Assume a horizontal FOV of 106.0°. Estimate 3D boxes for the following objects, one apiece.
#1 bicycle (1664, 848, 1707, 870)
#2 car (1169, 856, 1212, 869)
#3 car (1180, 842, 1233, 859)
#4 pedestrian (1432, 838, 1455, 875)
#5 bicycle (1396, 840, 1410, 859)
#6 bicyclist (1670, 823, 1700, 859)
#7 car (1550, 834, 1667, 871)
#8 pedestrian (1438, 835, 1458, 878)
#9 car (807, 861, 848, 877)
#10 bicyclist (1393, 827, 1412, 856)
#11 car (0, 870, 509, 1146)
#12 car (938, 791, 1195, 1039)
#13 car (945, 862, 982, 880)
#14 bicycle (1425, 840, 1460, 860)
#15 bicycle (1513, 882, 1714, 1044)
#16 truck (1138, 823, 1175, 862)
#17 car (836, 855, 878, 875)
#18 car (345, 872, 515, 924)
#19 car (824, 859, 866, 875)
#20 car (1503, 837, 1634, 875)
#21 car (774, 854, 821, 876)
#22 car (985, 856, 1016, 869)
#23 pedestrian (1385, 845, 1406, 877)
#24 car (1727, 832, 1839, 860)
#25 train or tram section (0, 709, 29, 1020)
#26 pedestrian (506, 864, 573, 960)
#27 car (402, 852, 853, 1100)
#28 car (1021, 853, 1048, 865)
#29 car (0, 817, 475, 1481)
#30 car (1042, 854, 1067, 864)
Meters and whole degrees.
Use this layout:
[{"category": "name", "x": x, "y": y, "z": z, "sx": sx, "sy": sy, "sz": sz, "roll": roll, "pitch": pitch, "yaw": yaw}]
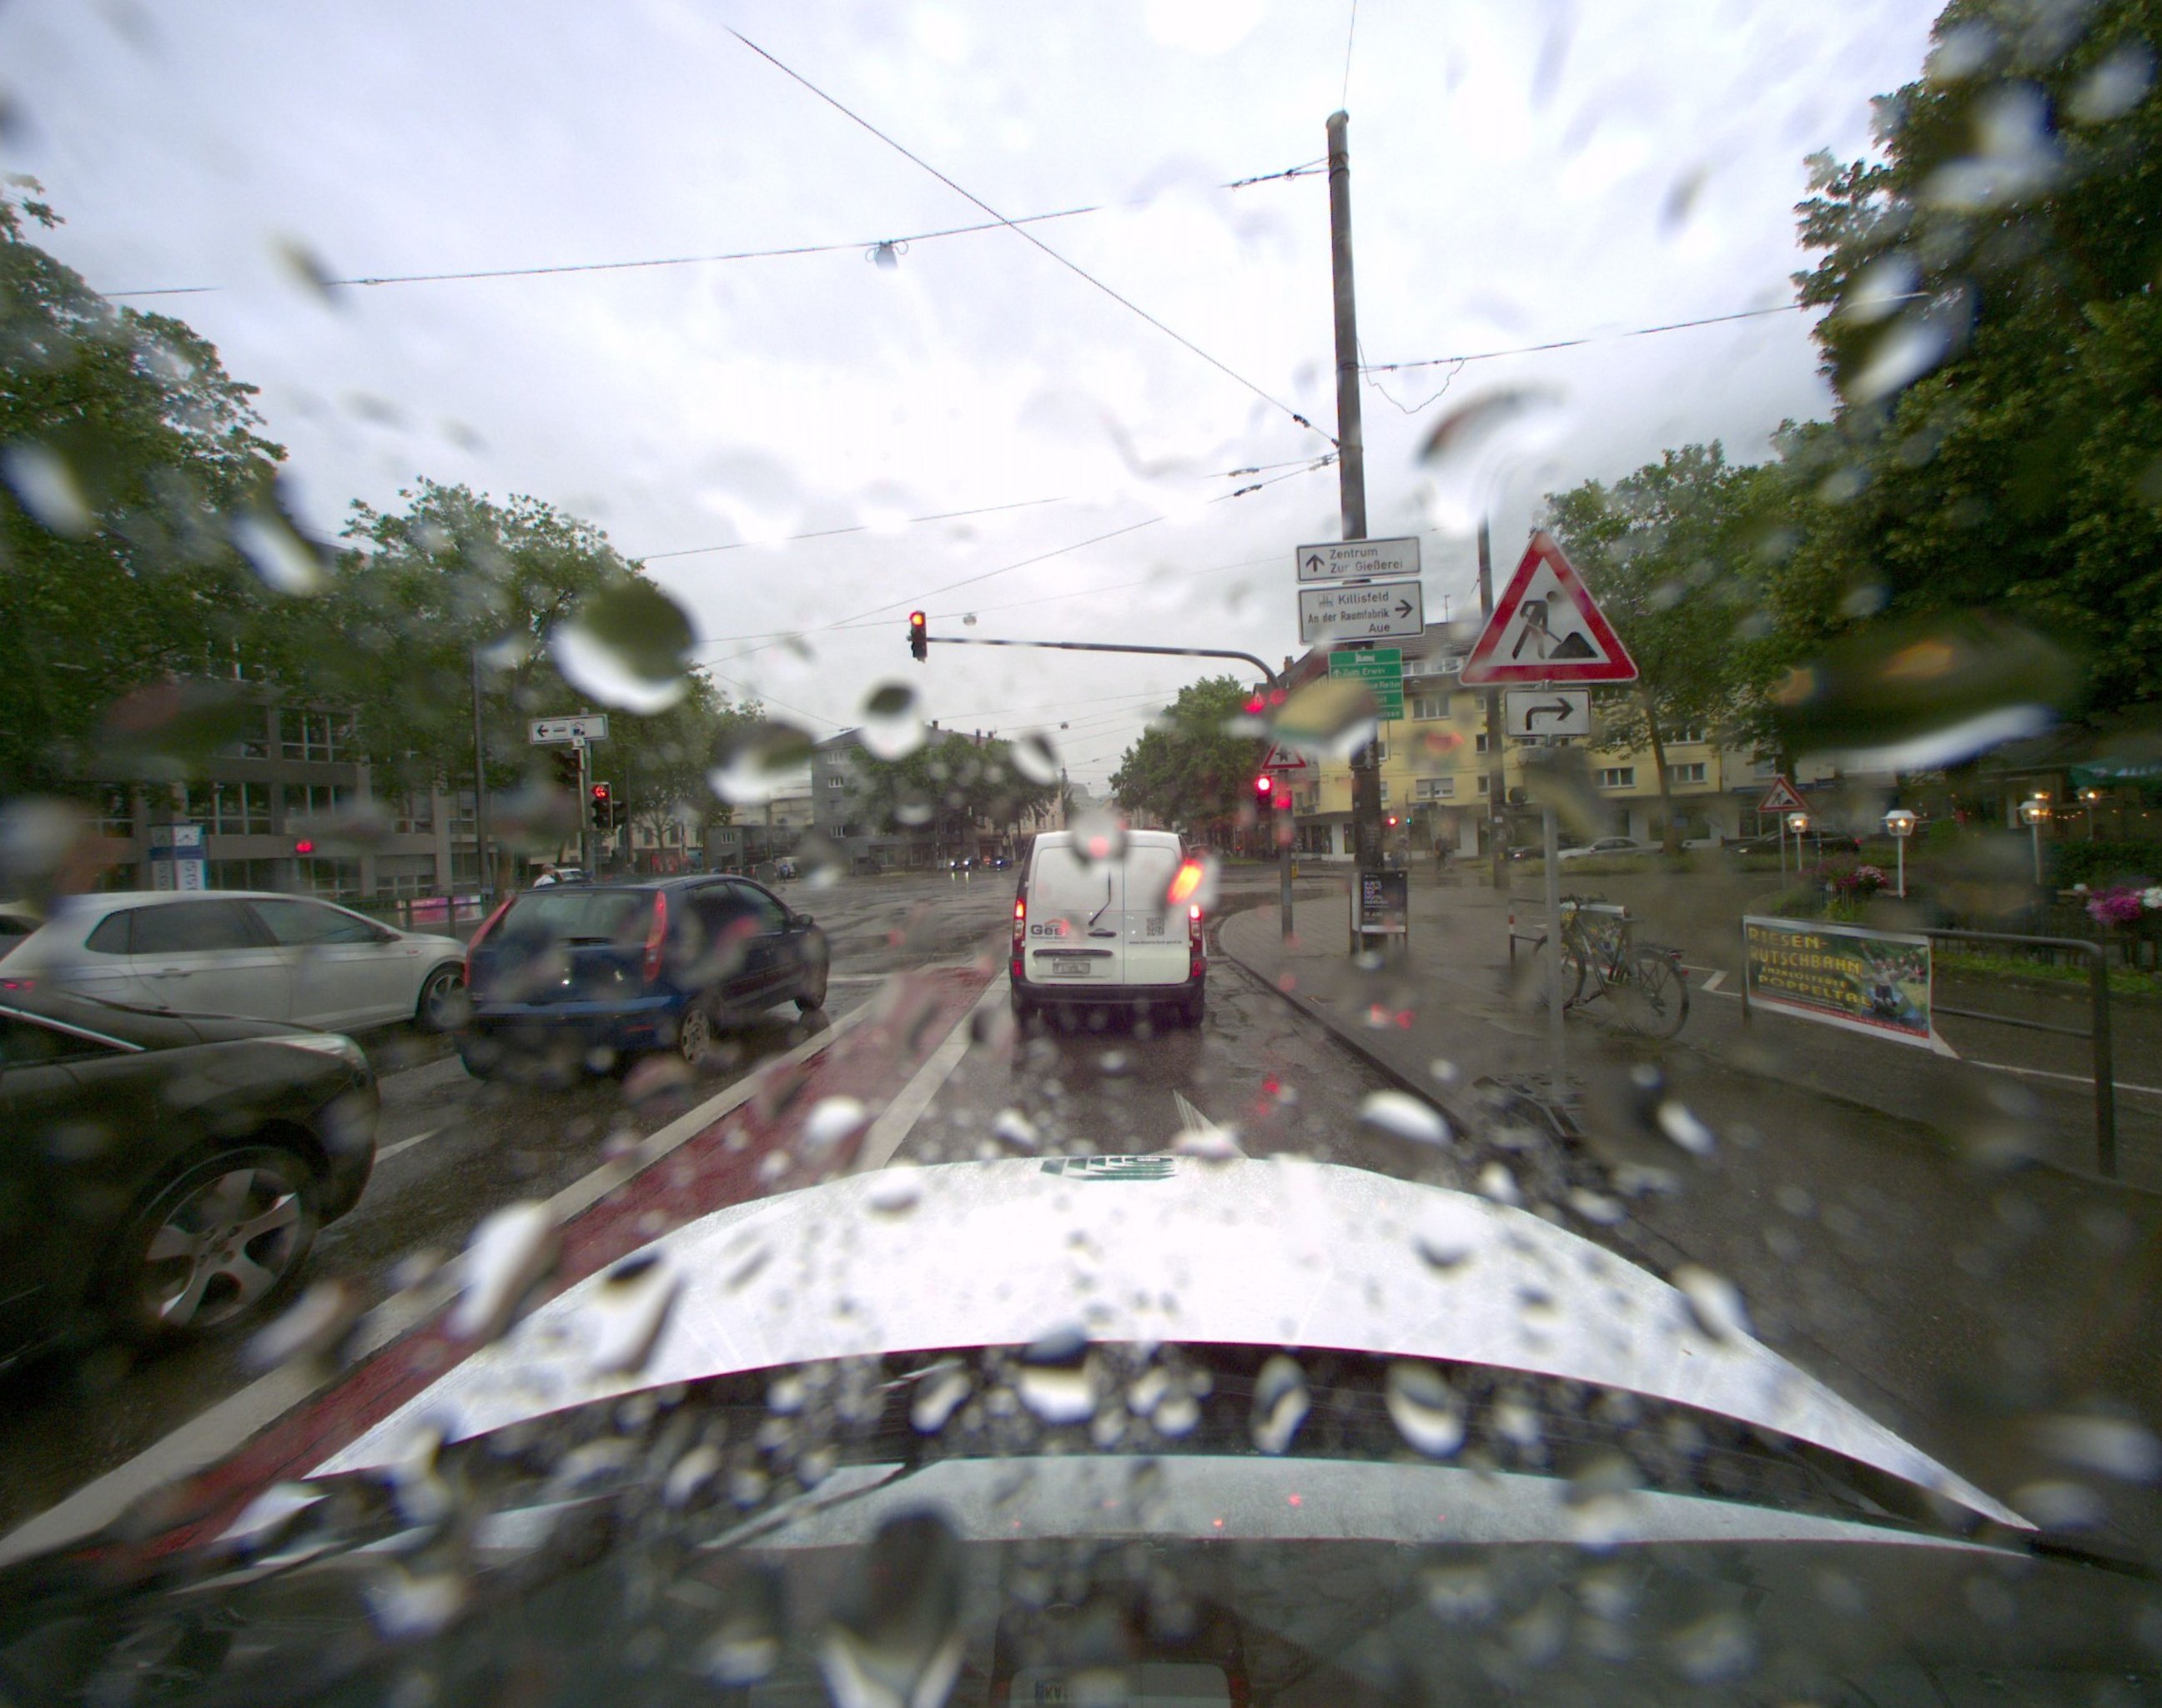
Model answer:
[{"category": "bicycle", "x": 28.003, "y": 0.233, "z": 37.717, "sx": 1.631, "sy": 1.002, "sz": 0.422, "roll": -1, "pitch": 0, "yaw": 2}, {"category": "car", "x": 9.502, "y": 0.727, "z": 70.932, "sx": 3.437, "sy": 1.130, "sz": 1.468, "roll": -1, "pitch": 0, "yaw": -6}, {"category": "car", "x": 10.573, "y": -0.303, "z": 68.881, "sx": 4.160, "sy": 1.339, "sz": 1.518, "roll": -2, "pitch": 1, "yaw": -6}, {"category": "pedestrian", "x": 17.013, "y": 0.121, "z": 38.225, "sx": 0.896, "sy": 1.669, "sz": 1.026, "roll": -1, "pitch": 0, "yaw": 26}, {"category": "bicycle", "x": 17.831, "y": -0.249, "z": 45.059, "sx": 0.651, "sy": 1.027, "sz": 2.035, "roll": -1, "pitch": 0, "yaw": 24}, {"category": "bicyclist", "x": 27.973, "y": -0.600, "z": 37.723, "sx": 0.811, "sy": 1.615, "sz": 0.711, "roll": -1, "pitch": 0, "yaw": 2}, {"category": "car", "x": 22.764, "y": -0.074, "z": 35.290, "sx": 3.906, "sy": 1.490, "sz": 1.815, "roll": -1, "pitch": 1, "yaw": 17}, {"category": "pedestrian", "x": 17.530, "y": 0.116, "z": 38.910, "sx": 0.787, "sy": 2.014, "sz": 0.865, "roll": -1, "pitch": -1, "yaw": 27}, {"category": "car", "x": -27.532, "y": 1.644, "z": 88.481, "sx": 1.935, "sy": 1.496, "sz": 4.025, "roll": -1, "pitch": 1, "yaw": 29}, {"category": "bicyclist", "x": 17.819, "y": -0.689, "z": 45.095, "sx": 0.925, "sy": 1.547, "sz": 1.075, "roll": -1, "pitch": 0, "yaw": 23}, {"category": "car", "x": -6.778, "y": 0.919, "z": 6.512, "sx": 1.623, "sy": 1.494, "sz": 3.783, "roll": -1, "pitch": 0, "yaw": 2}, {"category": "car", "x": -0.042, "y": 0.528, "z": 9.261, "sx": 2.092, "sy": 2.012, "sz": 4.965, "roll": -2, "pitch": -1, "yaw": 2}, {"category": "car", "x": -11.572, "y": 1.640, "z": 80.241, "sx": 1.935, "sy": 1.607, "sz": 4.020, "roll": -1, "pitch": 1, "yaw": 19}, {"category": "bicycle", "x": 24.322, "y": -0.272, "z": 54.850, "sx": 2.085, "sy": 1.261, "sz": 0.534, "roll": -1, "pitch": 1, "yaw": 16}, {"category": "bicycle", "x": 4.477, "y": 0.843, "z": 7.039, "sx": 0.512, "sy": 1.107, "sz": 2.018, "roll": 1, "pitch": 0, "yaw": 3}, {"category": "truck", "x": 10.780, "y": -1.468, "z": 114.579, "sx": 3.447, "sy": 5.087, "sz": 15.356, "roll": -1, "pitch": 0, "yaw": 12}, {"category": "car", "x": -23.432, "y": 1.161, "z": 85.448, "sx": 1.975, "sy": 2.013, "sz": 4.025, "roll": -1, "pitch": 0, "yaw": 29}, {"category": "car", "x": -18.609, "y": 1.217, "z": 23.478, "sx": 1.582, "sy": 1.314, "sz": 3.538, "roll": -1, "pitch": 0, "yaw": 16}, {"category": "car", "x": -25.339, "y": 1.402, "z": 87.449, "sx": 1.975, "sy": 1.530, "sz": 4.025, "roll": -1, "pitch": 1, "yaw": 29}, {"category": "car", "x": 22.848, "y": 0.130, "z": 38.364, "sx": 4.902, "sy": 1.643, "sz": 2.007, "roll": -1, "pitch": -3, "yaw": 14}, {"category": "car", "x": -30.762, "y": 1.192, "z": 88.409, "sx": 1.975, "sy": 2.198, "sz": 4.816, "roll": 0, "pitch": 2, "yaw": 25}, {"category": "car", "x": -8.856, "y": 0.902, "z": 90.143, "sx": 1.935, "sy": 1.239, "sz": 4.020, "roll": -1, "pitch": 1, "yaw": 19}, {"category": "pedestrian", "x": 15.296, "y": 0.350, "z": 39.609, "sx": 0.820, "sy": 1.534, "sz": 0.616, "roll": -1, "pitch": -1, "yaw": -37}, {"category": "car", "x": 29.272, "y": -0.331, "z": 34.025, "sx": 3.511, "sy": 1.082, "sz": 1.248, "roll": -1, "pitch": 0, "yaw": 4}, {"category": "train or tram section", "x": -13.731, "y": 0.097, "z": 1.407, "sx": 3.528, "sy": 3.413, "sz": 15.506, "roll": 0, "pitch": 0, "yaw": 1}, {"category": "pedestrian", "x": -9.428, "y": 0.992, "z": 14.200, "sx": 0.621, "sy": 1.607, "sz": 0.744, "roll": -1, "pitch": 0, "yaw": 9}, {"category": "car", "x": -3.475, "y": 0.793, "z": 7.177, "sx": 1.720, "sy": 1.578, "sz": 3.822, "roll": -1, "pitch": 0, "yaw": 2}, {"category": "car", "x": -5.750, "y": 0.595, "z": 100.348, "sx": 1.935, "sy": 1.239, "sz": 4.020, "roll": -1, "pitch": 1, "yaw": 19}, {"category": "car", "x": -3.657, "y": 0.752, "z": 1.512, "sx": 1.827, "sy": 1.668, "sz": 4.174, "roll": -1, "pitch": 0, "yaw": 2}, {"category": "car", "x": -3.517, "y": 0.676, "z": 108.312, "sx": 1.935, "sy": 1.239, "sz": 4.020, "roll": -1, "pitch": 1, "yaw": 19}]
